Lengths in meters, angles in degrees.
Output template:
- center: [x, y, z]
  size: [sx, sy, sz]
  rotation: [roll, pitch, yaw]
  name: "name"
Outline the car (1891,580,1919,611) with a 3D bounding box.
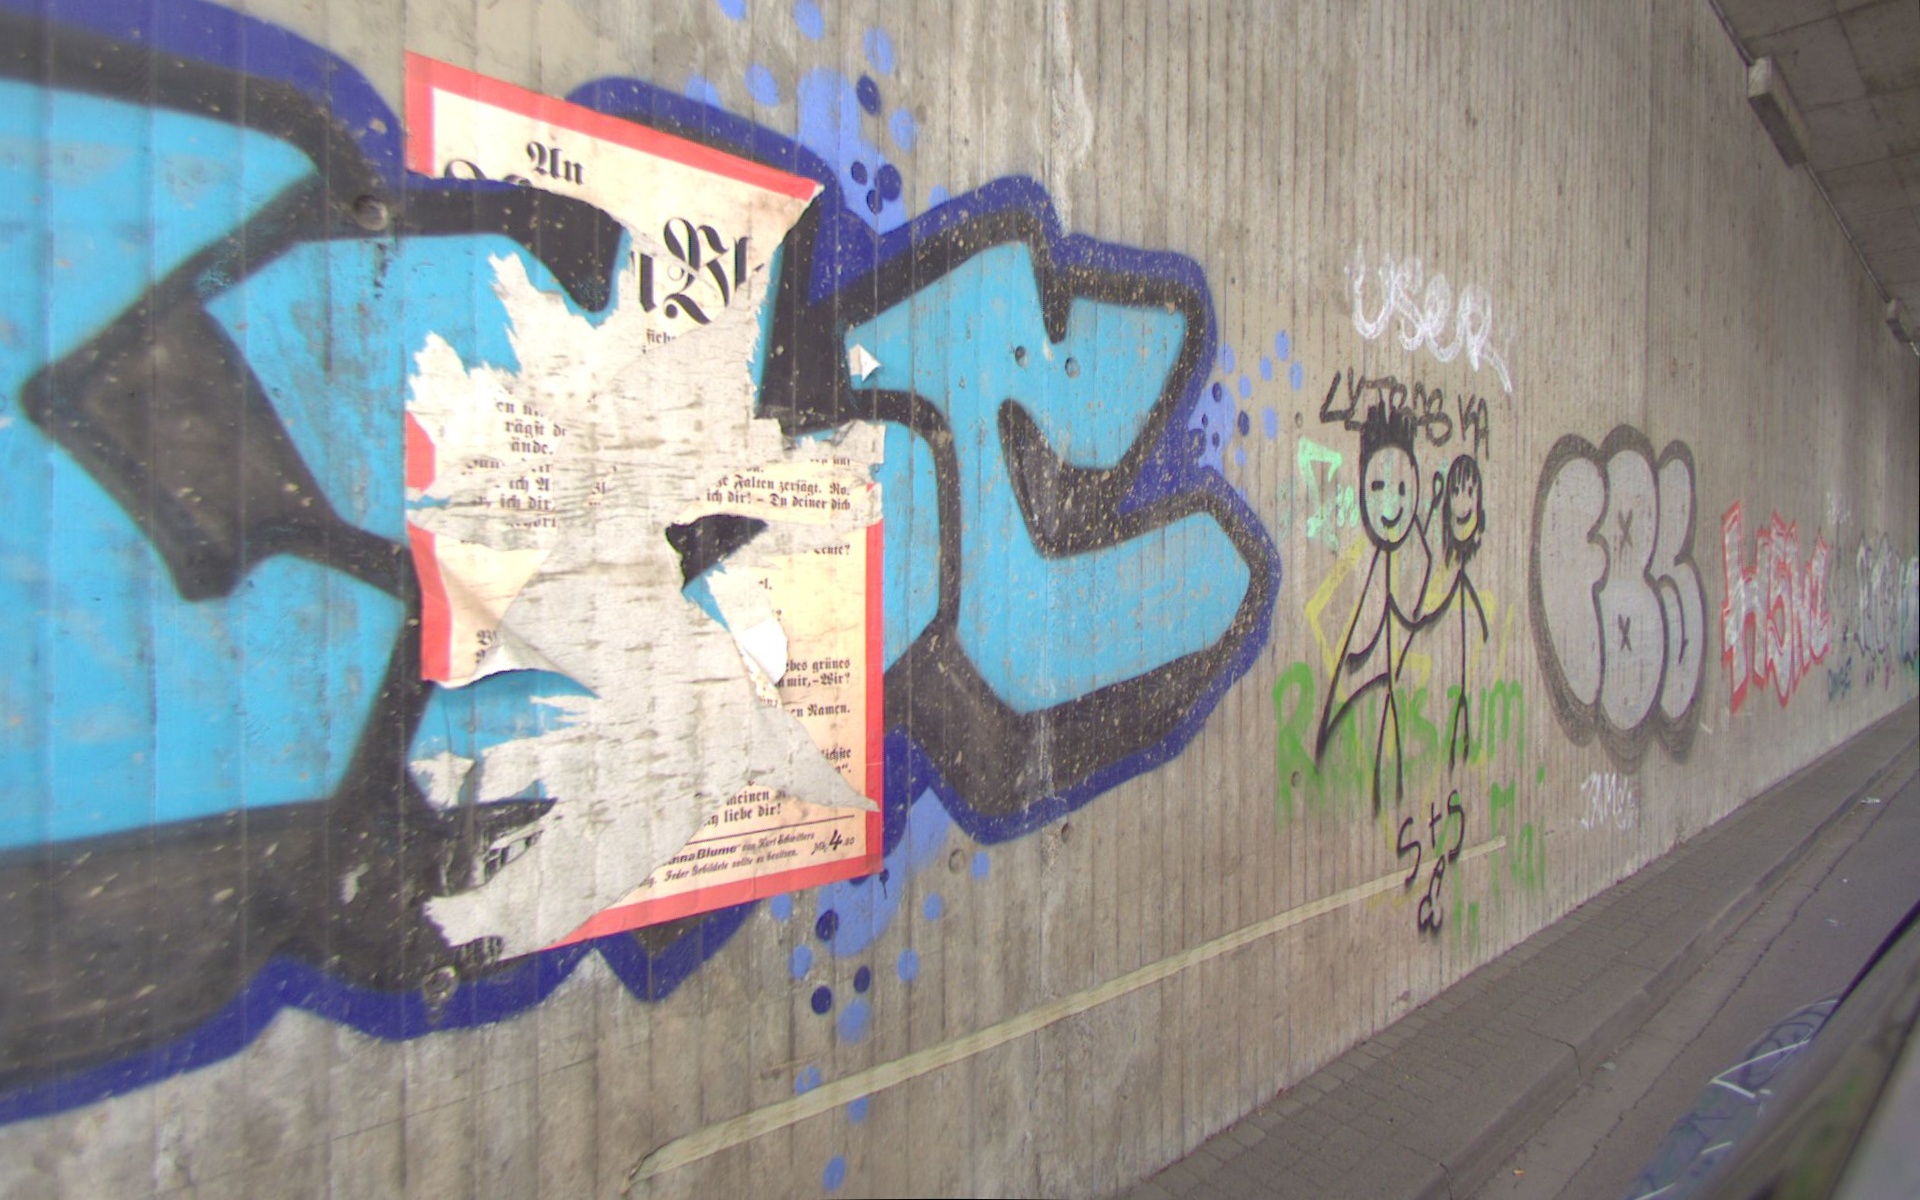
- center: [55.702, -0.254, 56.903]
  size: [1.967, 1.772, 4.848]
  rotation: [-1, 0, -43]
  name: "car"
